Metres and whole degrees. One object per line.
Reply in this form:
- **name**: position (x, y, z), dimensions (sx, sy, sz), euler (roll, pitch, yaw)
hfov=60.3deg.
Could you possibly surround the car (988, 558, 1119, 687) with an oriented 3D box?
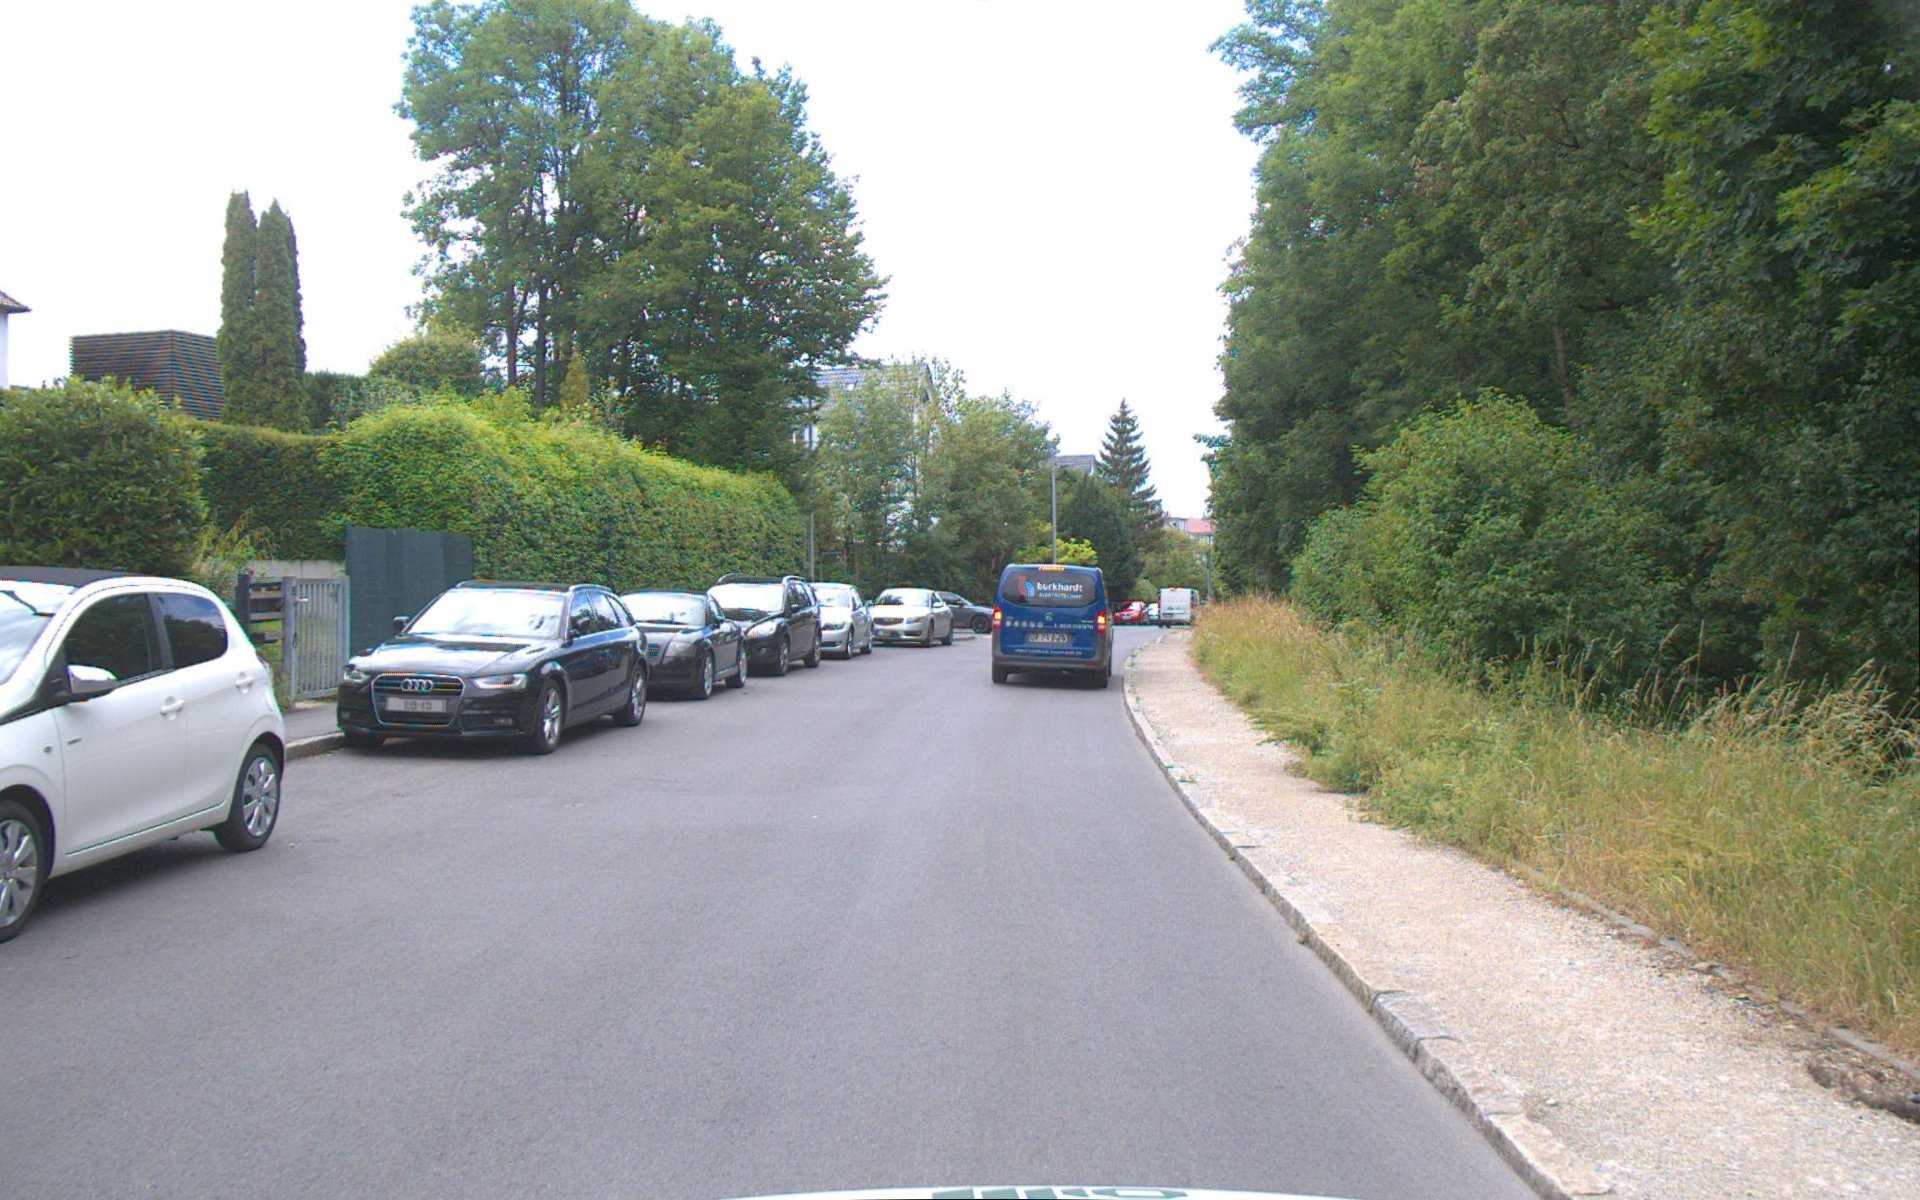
- **car**: position (1.630, 0.325, 27.340), dimensions (1.895, 1.913, 4.534), euler (1, 0, 6)

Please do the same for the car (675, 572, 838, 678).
- **car**: position (-3.274, 0.368, 27.450), dimensions (1.621, 1.560, 4.478), euler (2, 0, 7)

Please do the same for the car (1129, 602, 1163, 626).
- **car**: position (12.120, 0.913, 107.624), dimensions (1.712, 1.429, 4.003), euler (1, 0, 13)

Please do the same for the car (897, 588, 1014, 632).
- **car**: position (-0.135, 0.358, 59.038), dimensions (4.081, 1.472, 1.740), euler (1, 0, 0)

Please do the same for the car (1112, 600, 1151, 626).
- **car**: position (10.222, 0.778, 98.200), dimensions (1.601, 1.429, 4.002), euler (1, 0, 16)

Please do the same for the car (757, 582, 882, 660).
- **car**: position (-2.710, 0.379, 32.752), dimensions (1.737, 1.398, 4.343), euler (2, 0, 5)

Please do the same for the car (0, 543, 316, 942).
- **car**: position (-4.455, 0.528, 7.550), dimensions (1.555, 1.541, 3.591), euler (1, 0, 1)

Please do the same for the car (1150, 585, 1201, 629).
- **car**: position (11.020, 0.338, 84.131), dimensions (2.159, 2.100, 6.140), euler (1, 0, 11)

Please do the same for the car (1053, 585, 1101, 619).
- **car**: position (5.569, 0.113, 78.153), dimensions (1.669, 1.493, 4.079), euler (1, 0, 12)

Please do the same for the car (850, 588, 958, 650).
- **car**: position (-1.324, 0.433, 40.814), dimensions (1.792, 1.398, 4.449), euler (2, 0, 9)

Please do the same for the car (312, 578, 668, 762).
- **car**: position (-4.119, 0.536, 15.351), dimensions (1.682, 1.409, 4.665), euler (1, 0, 4)

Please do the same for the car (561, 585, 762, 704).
- **car**: position (-3.795, 0.517, 21.705), dimensions (1.675, 1.364, 4.109), euler (2, 0, 3)
